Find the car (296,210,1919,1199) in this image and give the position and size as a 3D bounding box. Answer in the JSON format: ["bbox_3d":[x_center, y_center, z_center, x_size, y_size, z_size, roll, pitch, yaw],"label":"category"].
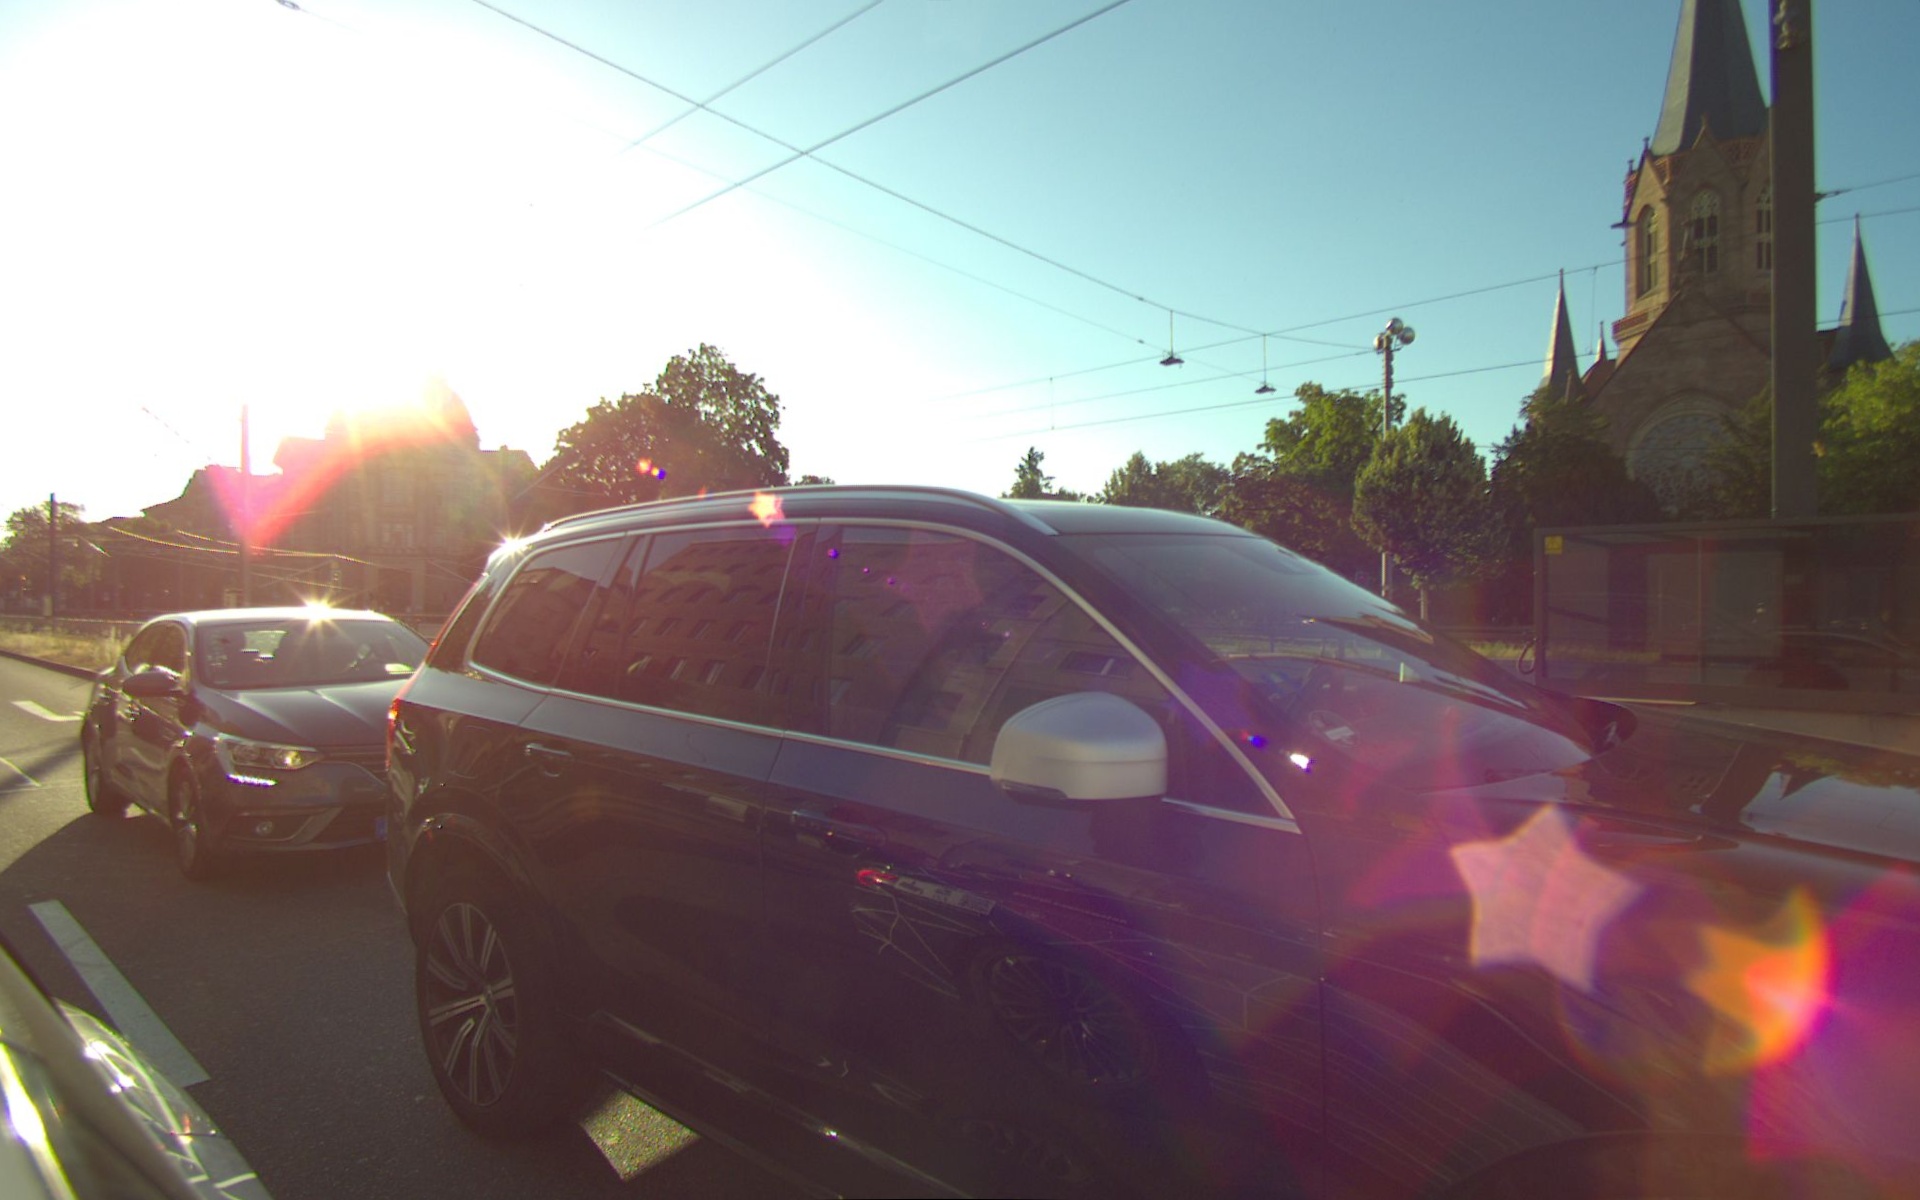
[{"bbox_3d":[0.313,0.517,2.550,4.846,1.725,1.932,-1,1,39],"label":"car"}]

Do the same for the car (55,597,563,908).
[{"bbox_3d":[-4.473,0.734,6.721,3.917,1.411,1.792,-1,1,41],"label":"car"}]
